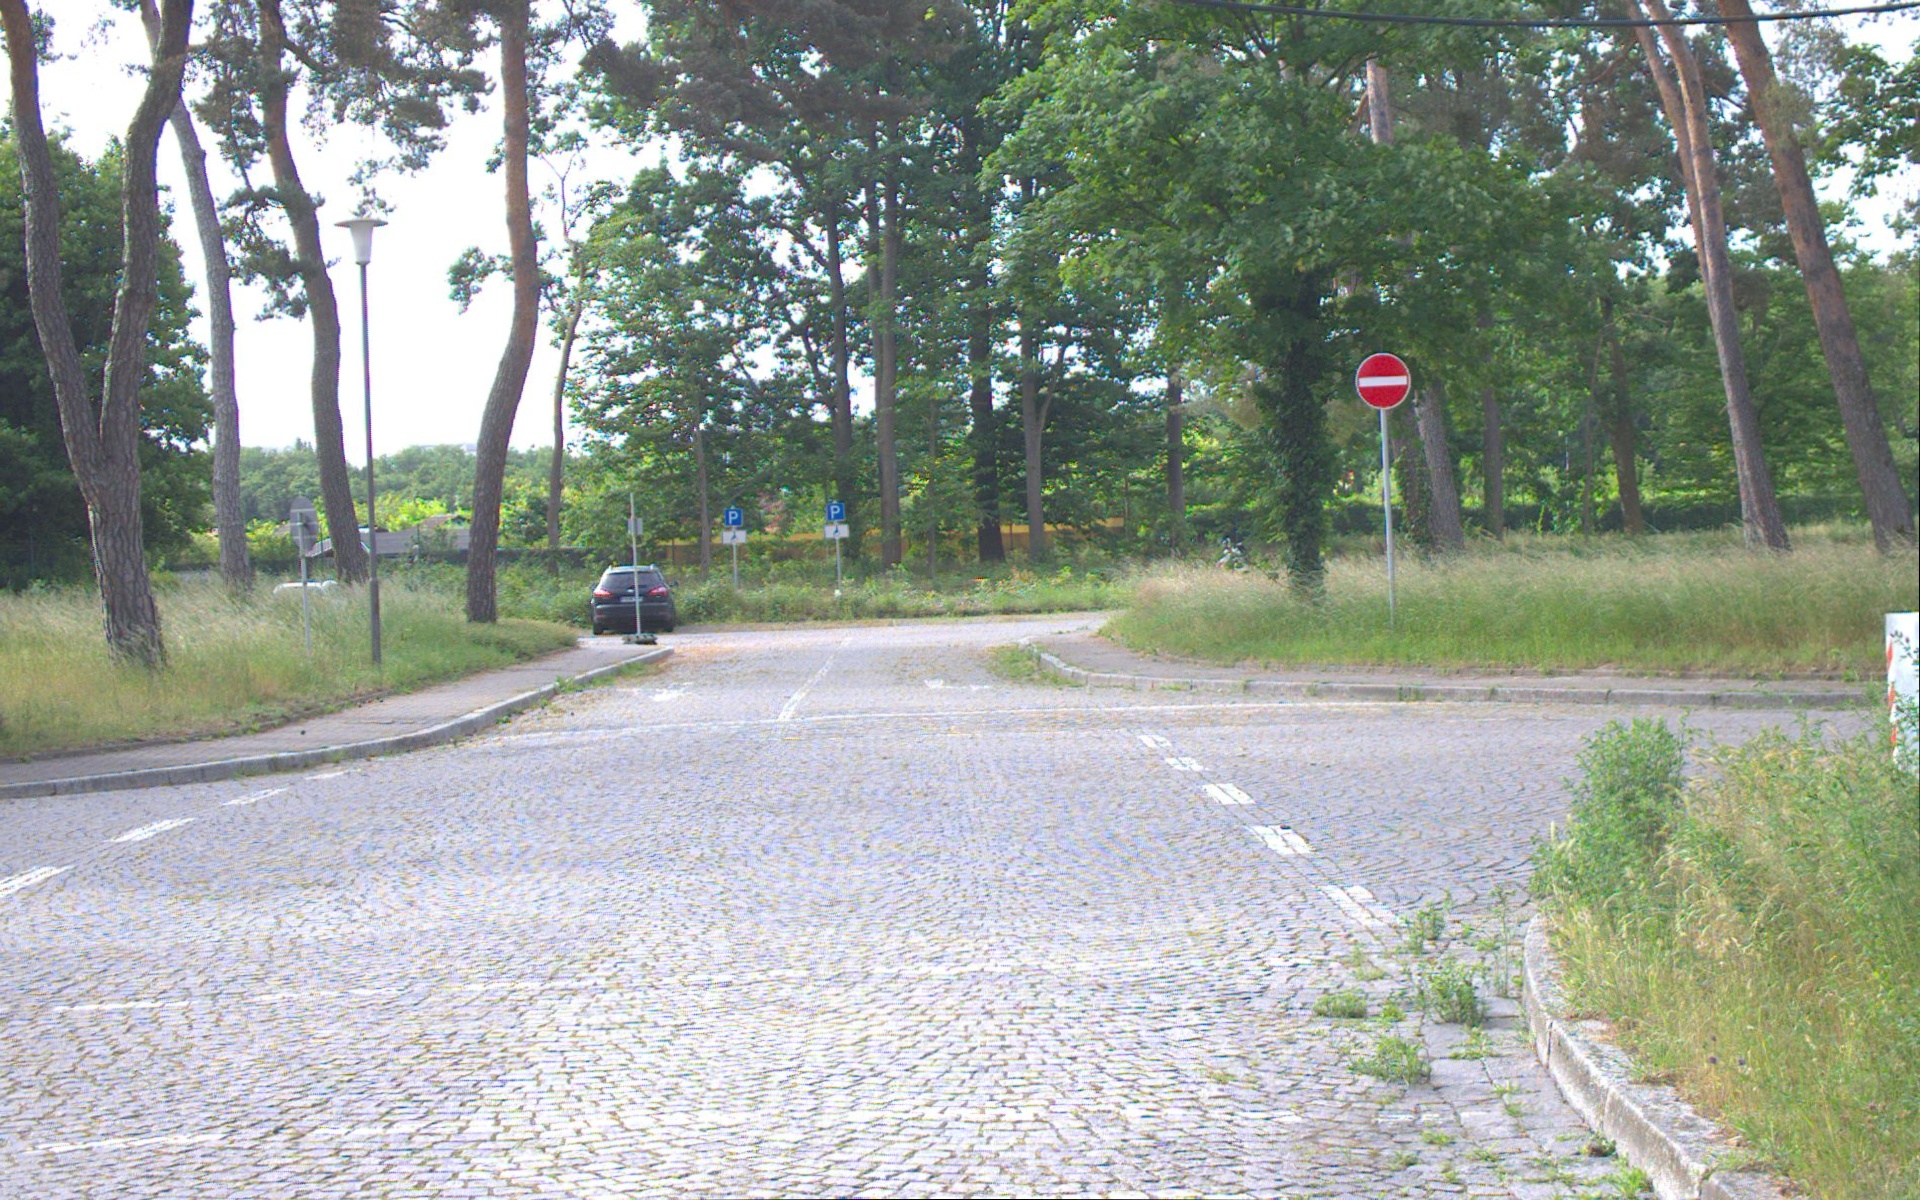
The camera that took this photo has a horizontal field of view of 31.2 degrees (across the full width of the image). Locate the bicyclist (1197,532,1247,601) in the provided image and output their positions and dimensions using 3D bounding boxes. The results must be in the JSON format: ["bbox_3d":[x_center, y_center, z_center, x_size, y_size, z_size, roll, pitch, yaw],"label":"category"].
[{"bbox_3d":[5.905,-0.756,77.536,0.974,1.505,0.807,-2,1,-4],"label":"bicyclist"}]

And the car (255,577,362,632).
[{"bbox_3d":[-15.111,0.083,79.900,1.689,1.152,4.000,-2,1,0],"label":"car"}]

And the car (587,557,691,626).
[{"bbox_3d":[-7.314,-0.223,78.716,1.993,1.503,4.000,0,1,0],"label":"car"}]
